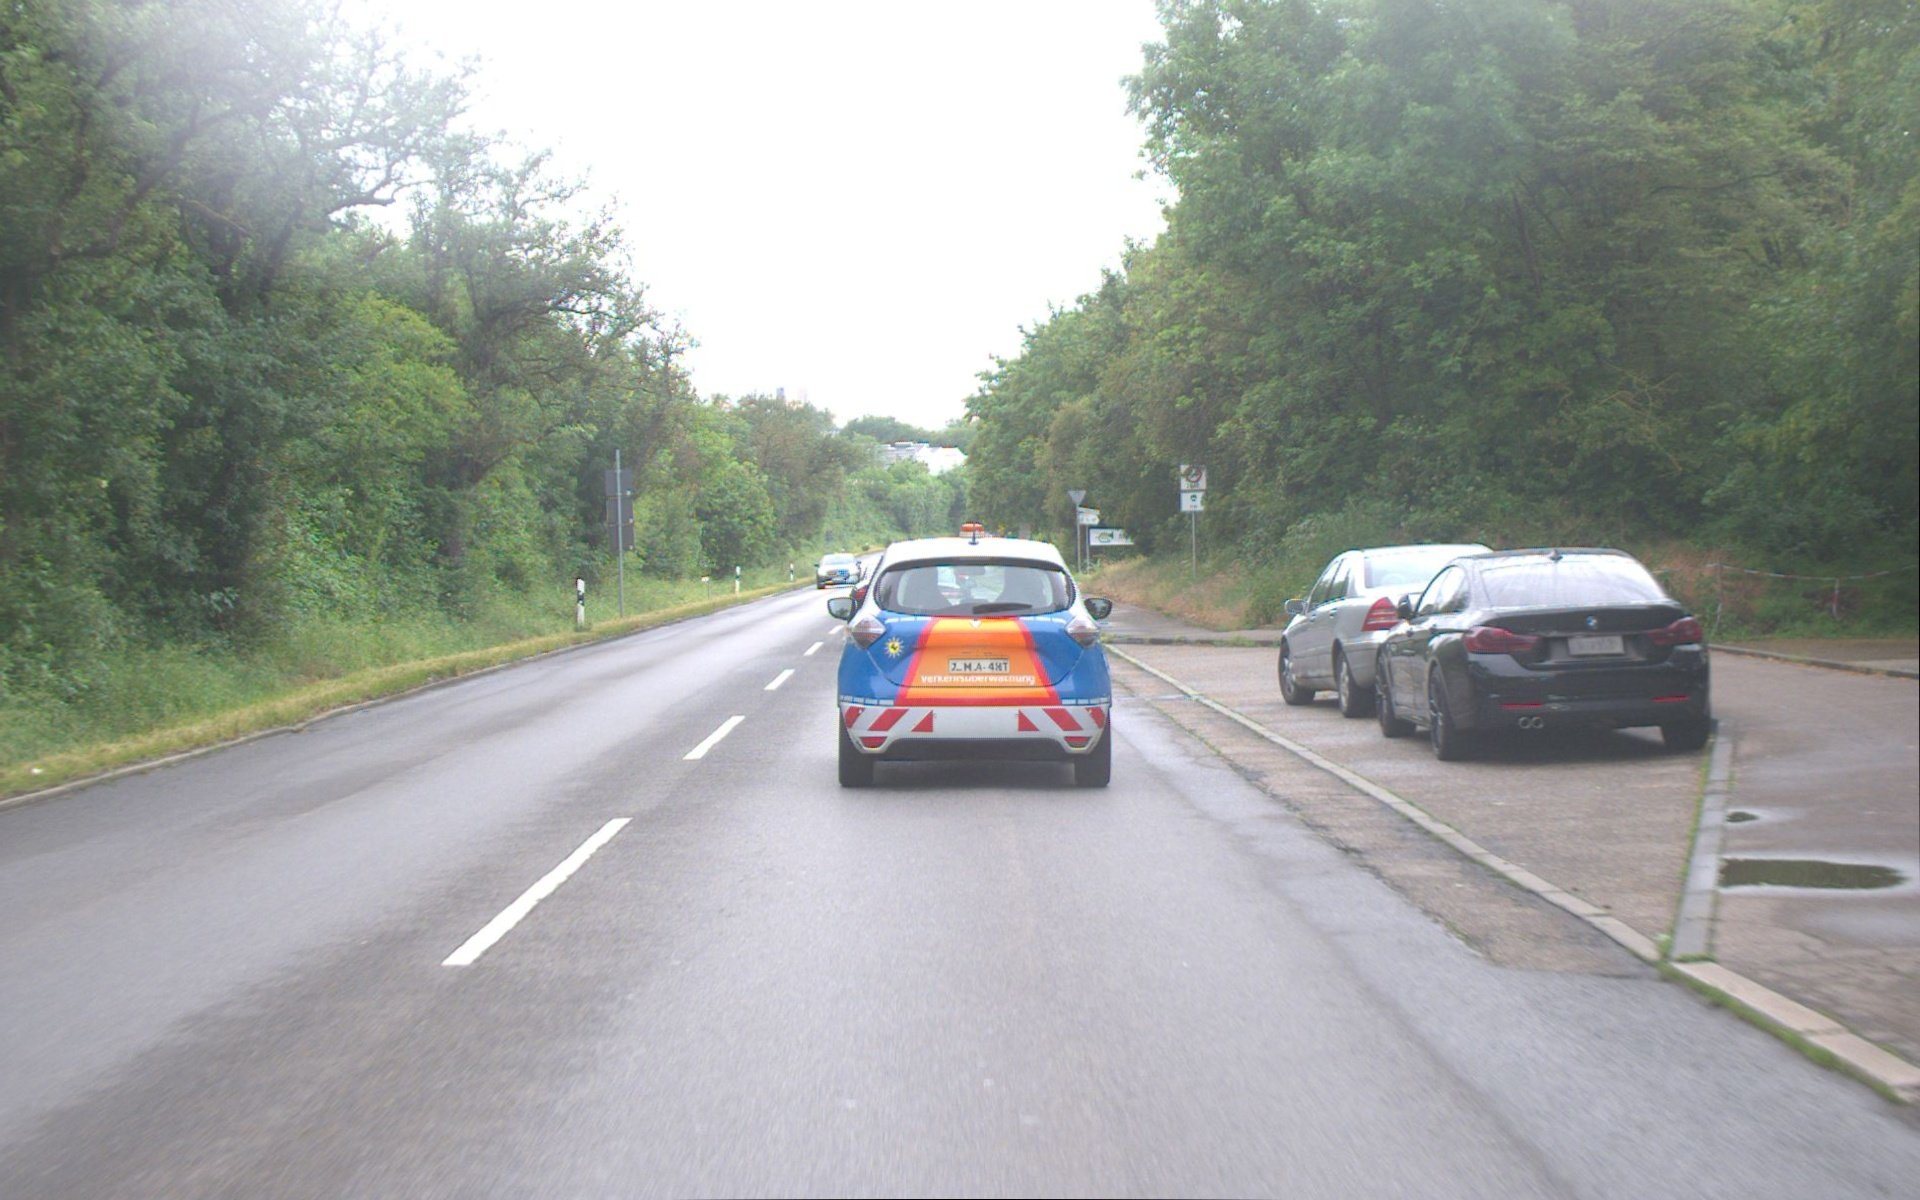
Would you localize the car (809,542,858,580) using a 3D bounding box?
[{"bbox_3d":[-5.434,-1.681,147.780,1.871,1.484,4.574,-4,1,-1],"label":"car"}]

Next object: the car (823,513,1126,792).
[{"bbox_3d":[0.063,0.297,22.672,1.806,1.662,3.856,1,1,-1],"label":"car"}]

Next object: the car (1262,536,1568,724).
[{"bbox_3d":[3.925,0.230,30.327,1.744,1.463,4.221,-3,1,-5],"label":"car"}]

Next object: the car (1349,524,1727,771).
[{"bbox_3d":[4.042,0.287,24.795,1.806,1.505,4.667,-3,1,-1],"label":"car"}]

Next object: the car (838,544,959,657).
[{"bbox_3d":[-0.881,-0.011,50.724,1.694,1.590,3.856,1,1,0],"label":"car"}]
